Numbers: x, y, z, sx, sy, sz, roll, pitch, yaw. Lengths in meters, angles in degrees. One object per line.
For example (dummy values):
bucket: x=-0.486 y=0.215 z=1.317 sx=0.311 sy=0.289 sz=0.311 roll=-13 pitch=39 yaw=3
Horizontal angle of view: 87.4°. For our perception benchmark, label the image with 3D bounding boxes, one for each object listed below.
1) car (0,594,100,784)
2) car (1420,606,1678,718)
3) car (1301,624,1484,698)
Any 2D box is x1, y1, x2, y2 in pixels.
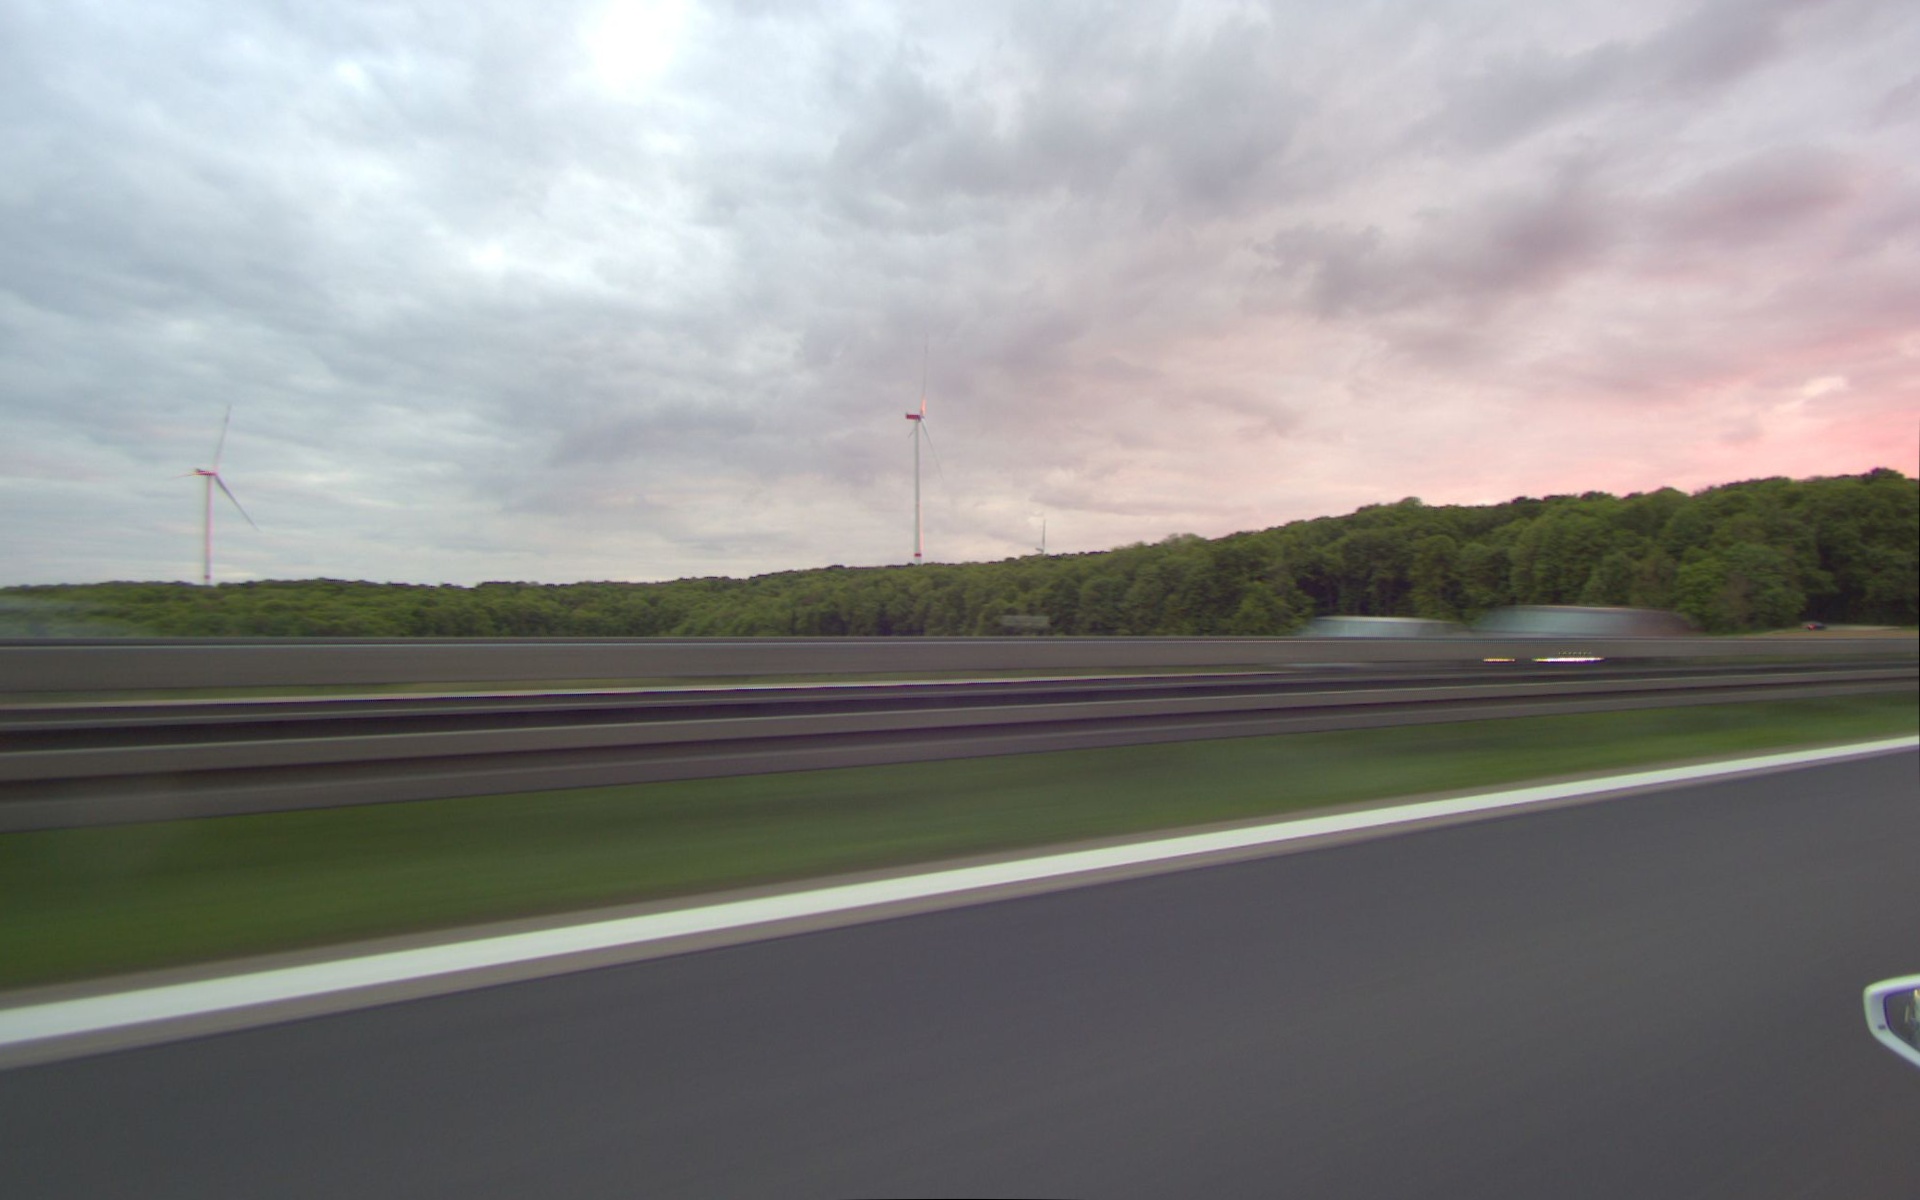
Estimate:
car: x=-9.392 y=0.701 z=7.742 sx=3.956 sy=1.503 sz=1.600 roll=1 pitch=-2 yaw=-32
car: x=10.598 y=1.054 z=17.984 sx=4.717 sy=1.750 sz=1.983 roll=2 pitch=0 yaw=-31
car: x=9.390 y=1.256 z=21.755 sx=3.954 sy=1.437 sz=1.645 roll=1 pitch=0 yaw=-31
